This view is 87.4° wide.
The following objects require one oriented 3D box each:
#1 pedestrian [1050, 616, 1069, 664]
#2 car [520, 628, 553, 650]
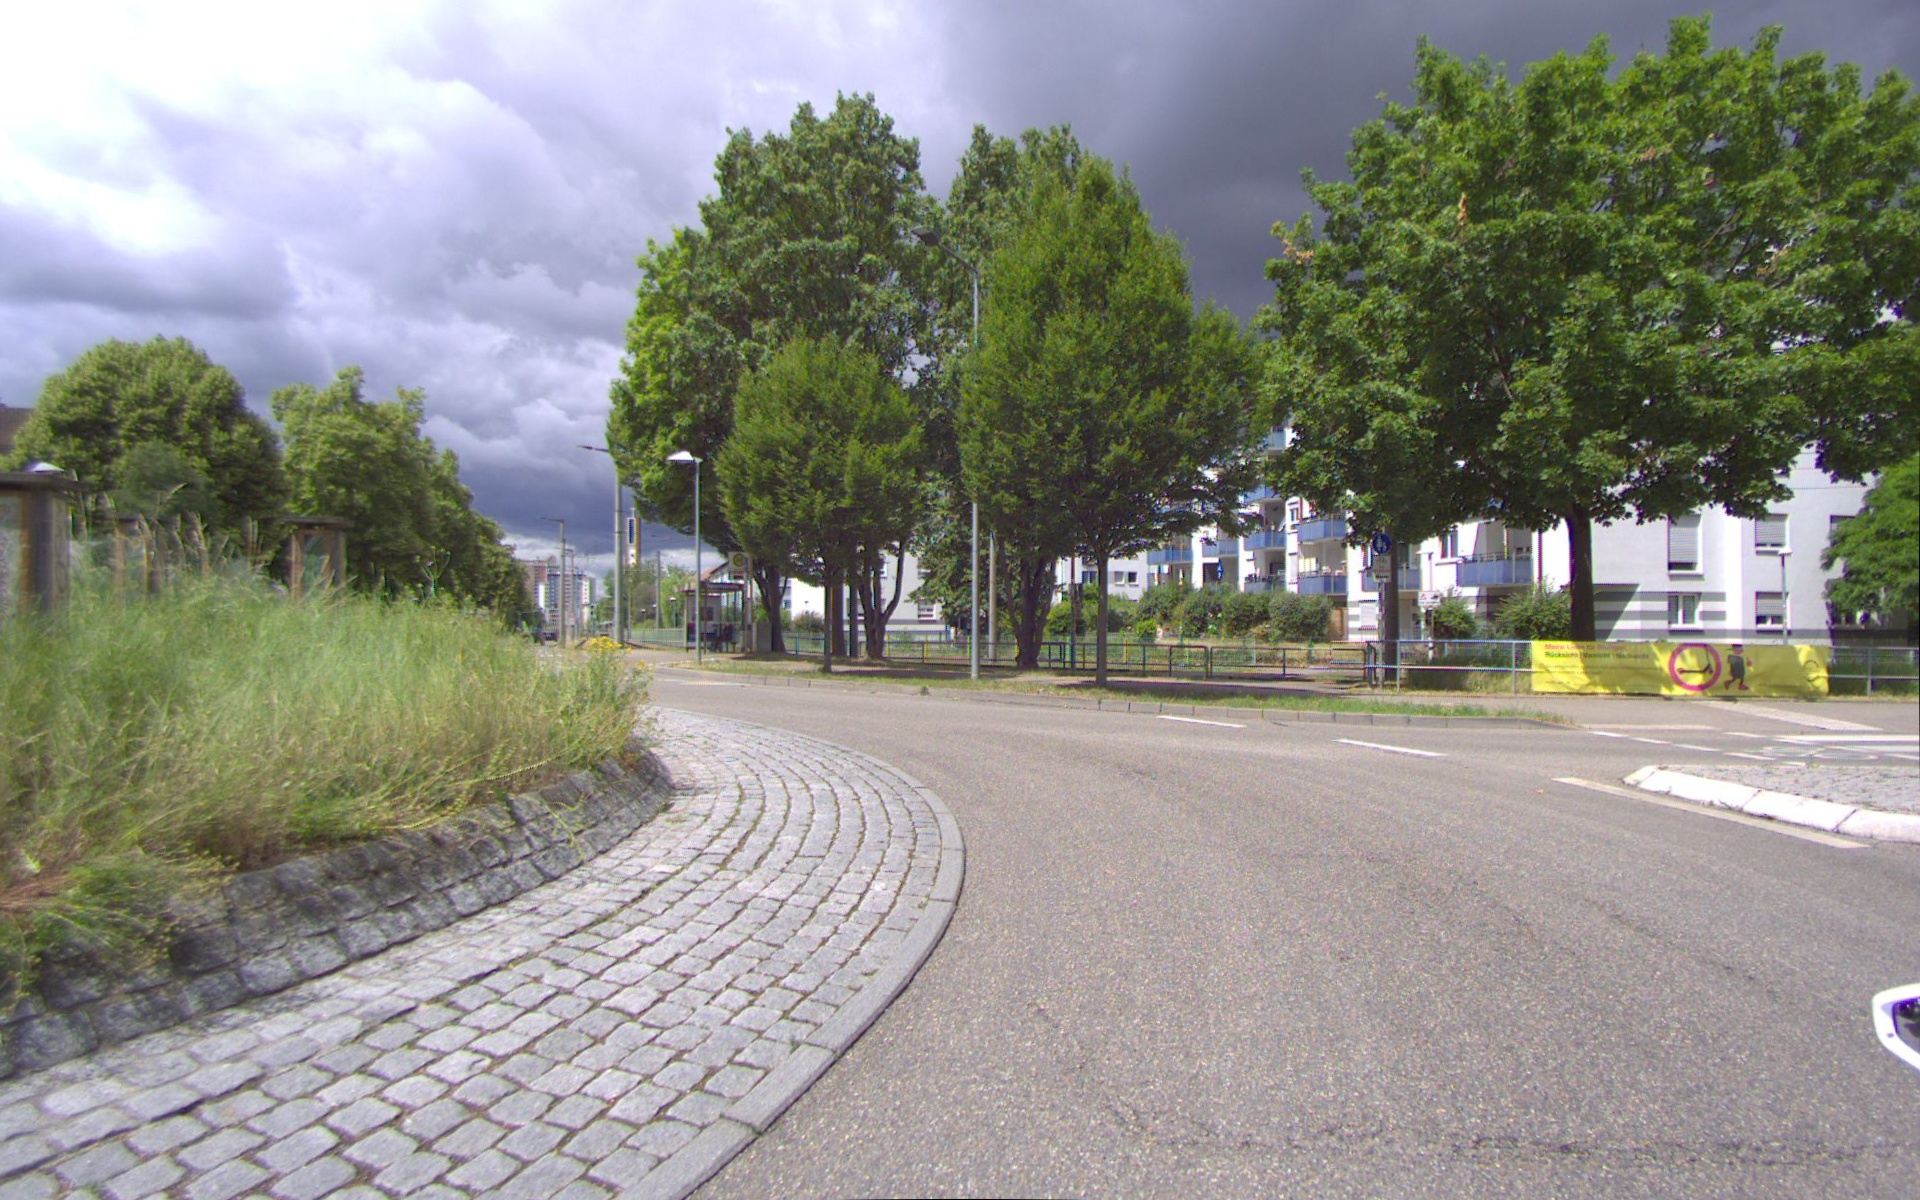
[{"bbox_3d":[4.298,1.732,43.303,0.715,2.040,0.981,0,-2,10],"label":"pedestrian"},{"bbox_3d":[-35.524,3.239,84.294,1.966,1.723,3.989,-1,-1,-14],"label":"car"}]
